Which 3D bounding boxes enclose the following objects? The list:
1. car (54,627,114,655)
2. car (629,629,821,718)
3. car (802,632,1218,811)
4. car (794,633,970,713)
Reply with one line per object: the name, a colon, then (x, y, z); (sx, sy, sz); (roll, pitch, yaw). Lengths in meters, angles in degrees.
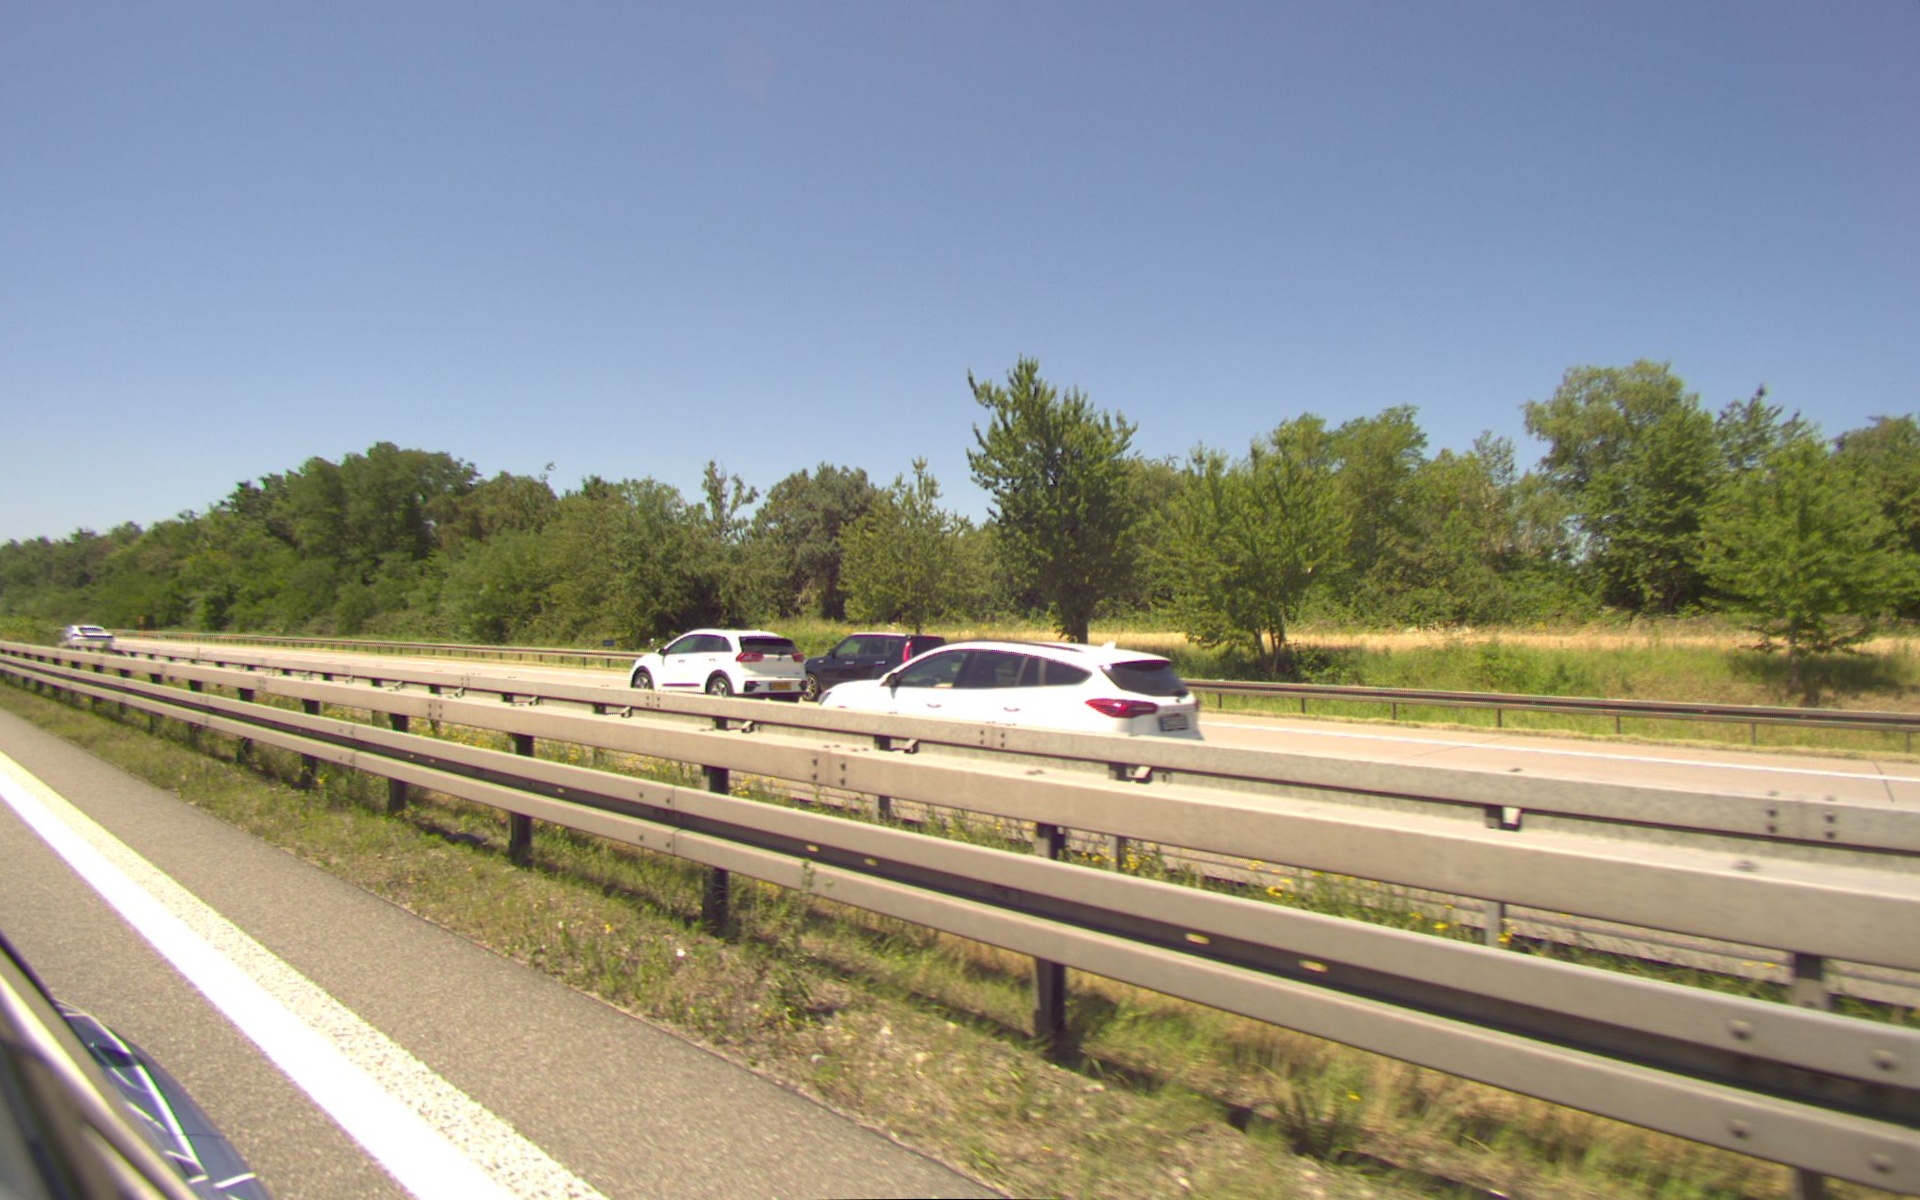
car: (-43.814, 2.046, 50.616); (4.082, 1.324, 1.671); (-1, -4, 41)
car: (-4.787, 1.414, 20.359); (3.887, 1.597, 1.816); (-1, -4, 41)
car: (0.393, 1.132, 10.762); (4.236, 1.504, 1.776); (-1, -4, 41)
car: (-1.808, 1.590, 22.779); (3.901, 1.606, 1.714); (-1, -4, 41)
